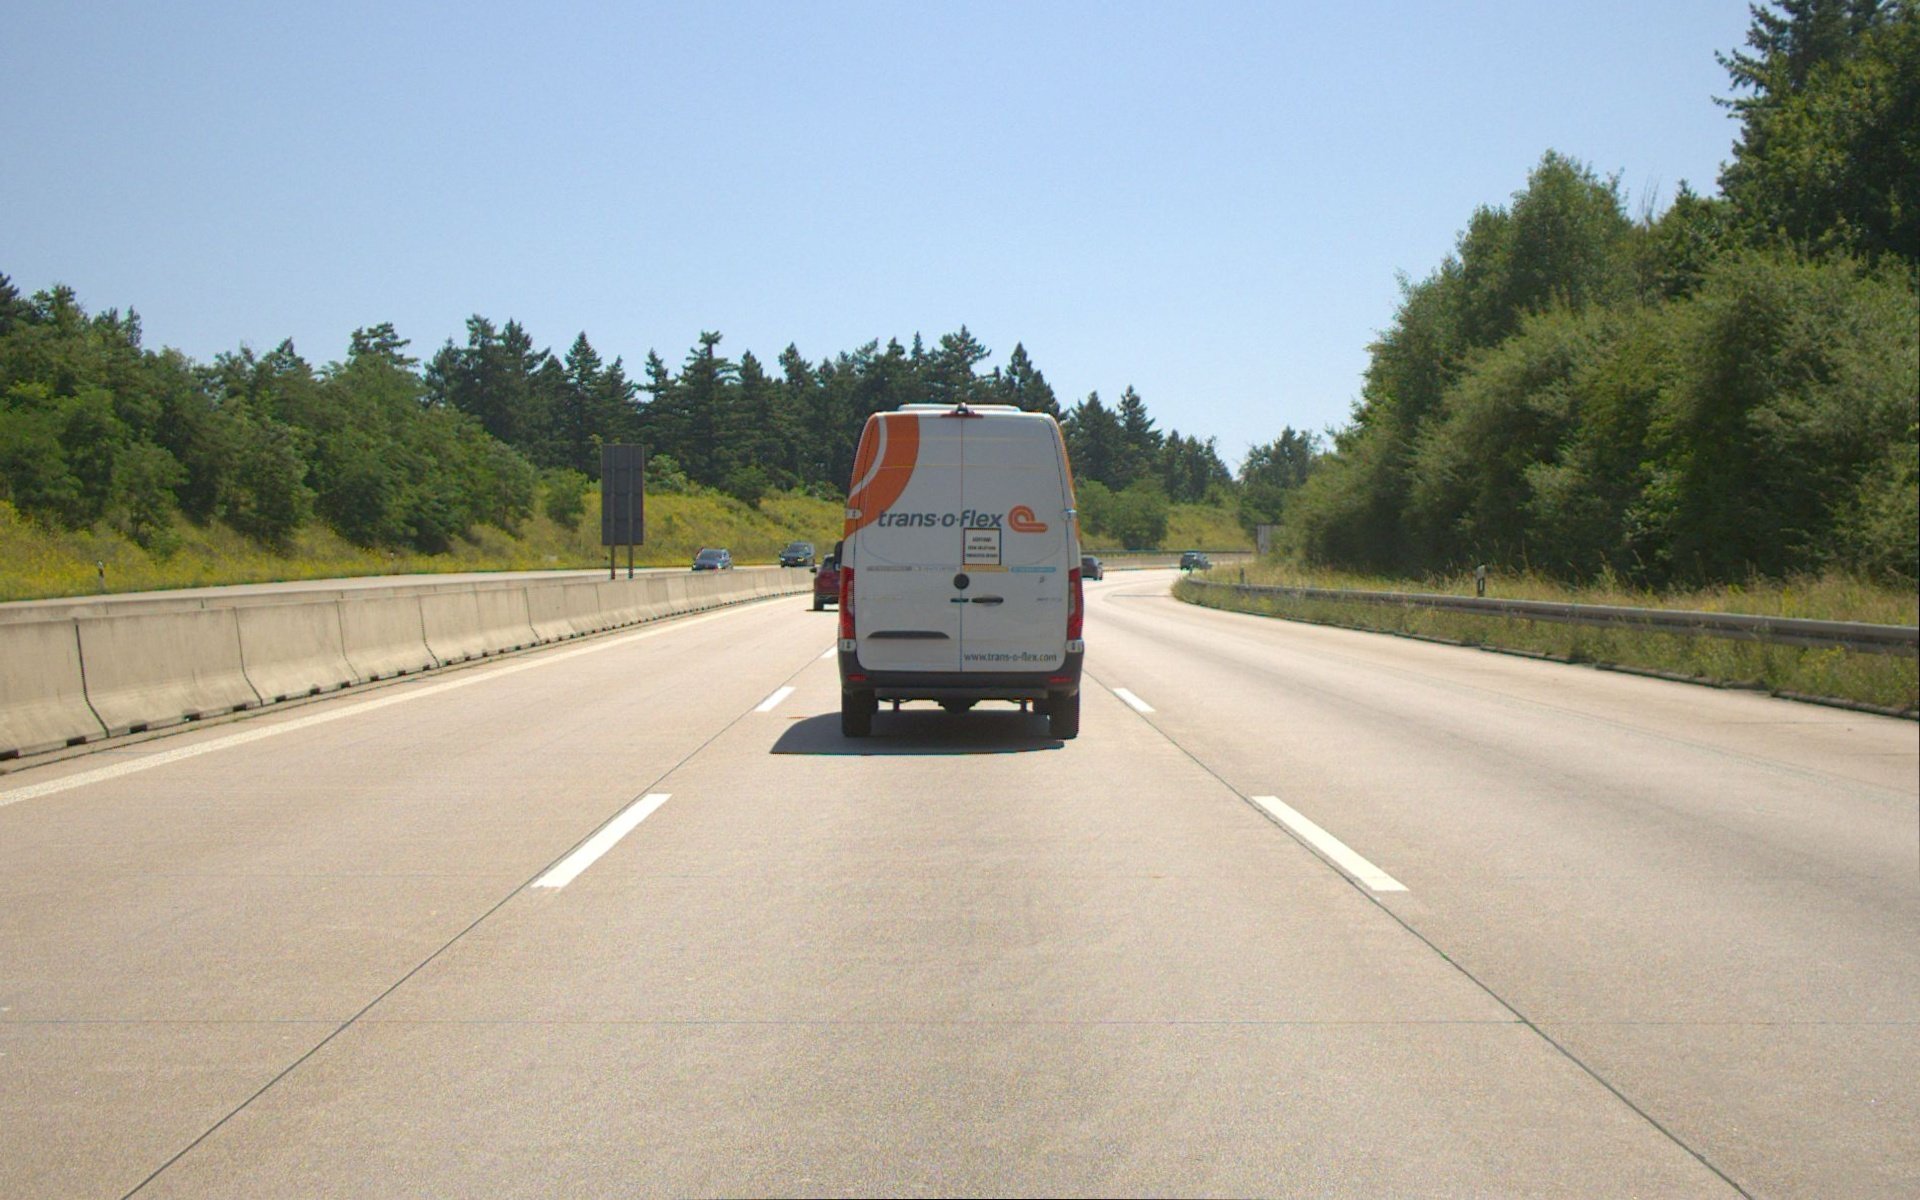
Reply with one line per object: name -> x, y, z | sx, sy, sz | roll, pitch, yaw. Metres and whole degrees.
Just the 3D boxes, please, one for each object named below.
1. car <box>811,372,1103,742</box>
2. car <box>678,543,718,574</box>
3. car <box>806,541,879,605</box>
car -> -0.055, -0.370, 29.195 | 2.226, 2.834, 5.454 | 0, 1, -1
car -> -14.830, -2.330, 194.711 | 1.993, 1.700, 4.000 | 0, 0, -1
car -> -3.305, -0.759, 97.432 | 1.993, 1.788, 4.000 | 0, 0, -1
